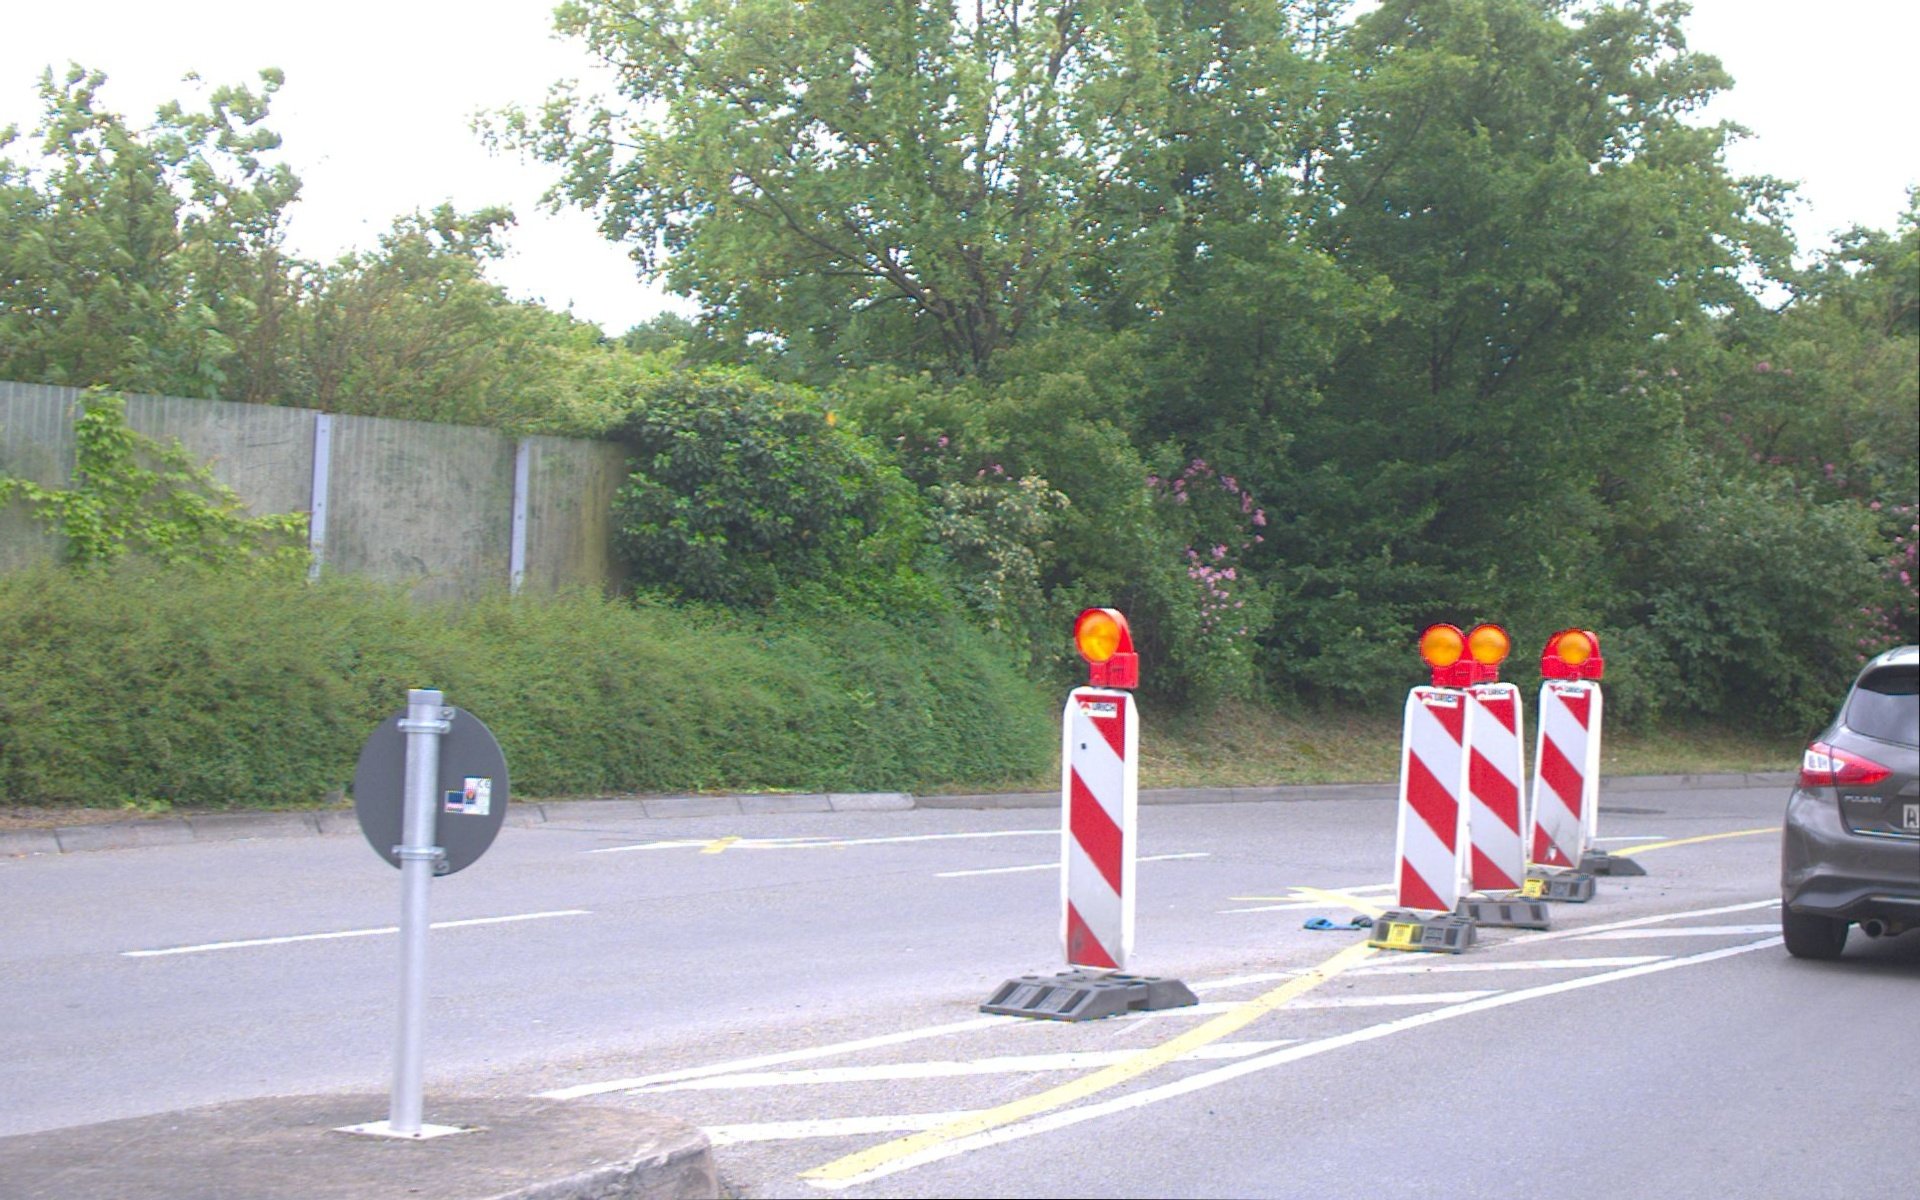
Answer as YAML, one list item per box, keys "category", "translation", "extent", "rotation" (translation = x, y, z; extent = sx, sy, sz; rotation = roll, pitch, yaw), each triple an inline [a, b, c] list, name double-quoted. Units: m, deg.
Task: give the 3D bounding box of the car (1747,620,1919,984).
- category: "car"
  translation: [5.194, 0.961, 16.717]
  extent: [1.800, 1.547, 3.994]
  rotation: [3, 0, 25]
